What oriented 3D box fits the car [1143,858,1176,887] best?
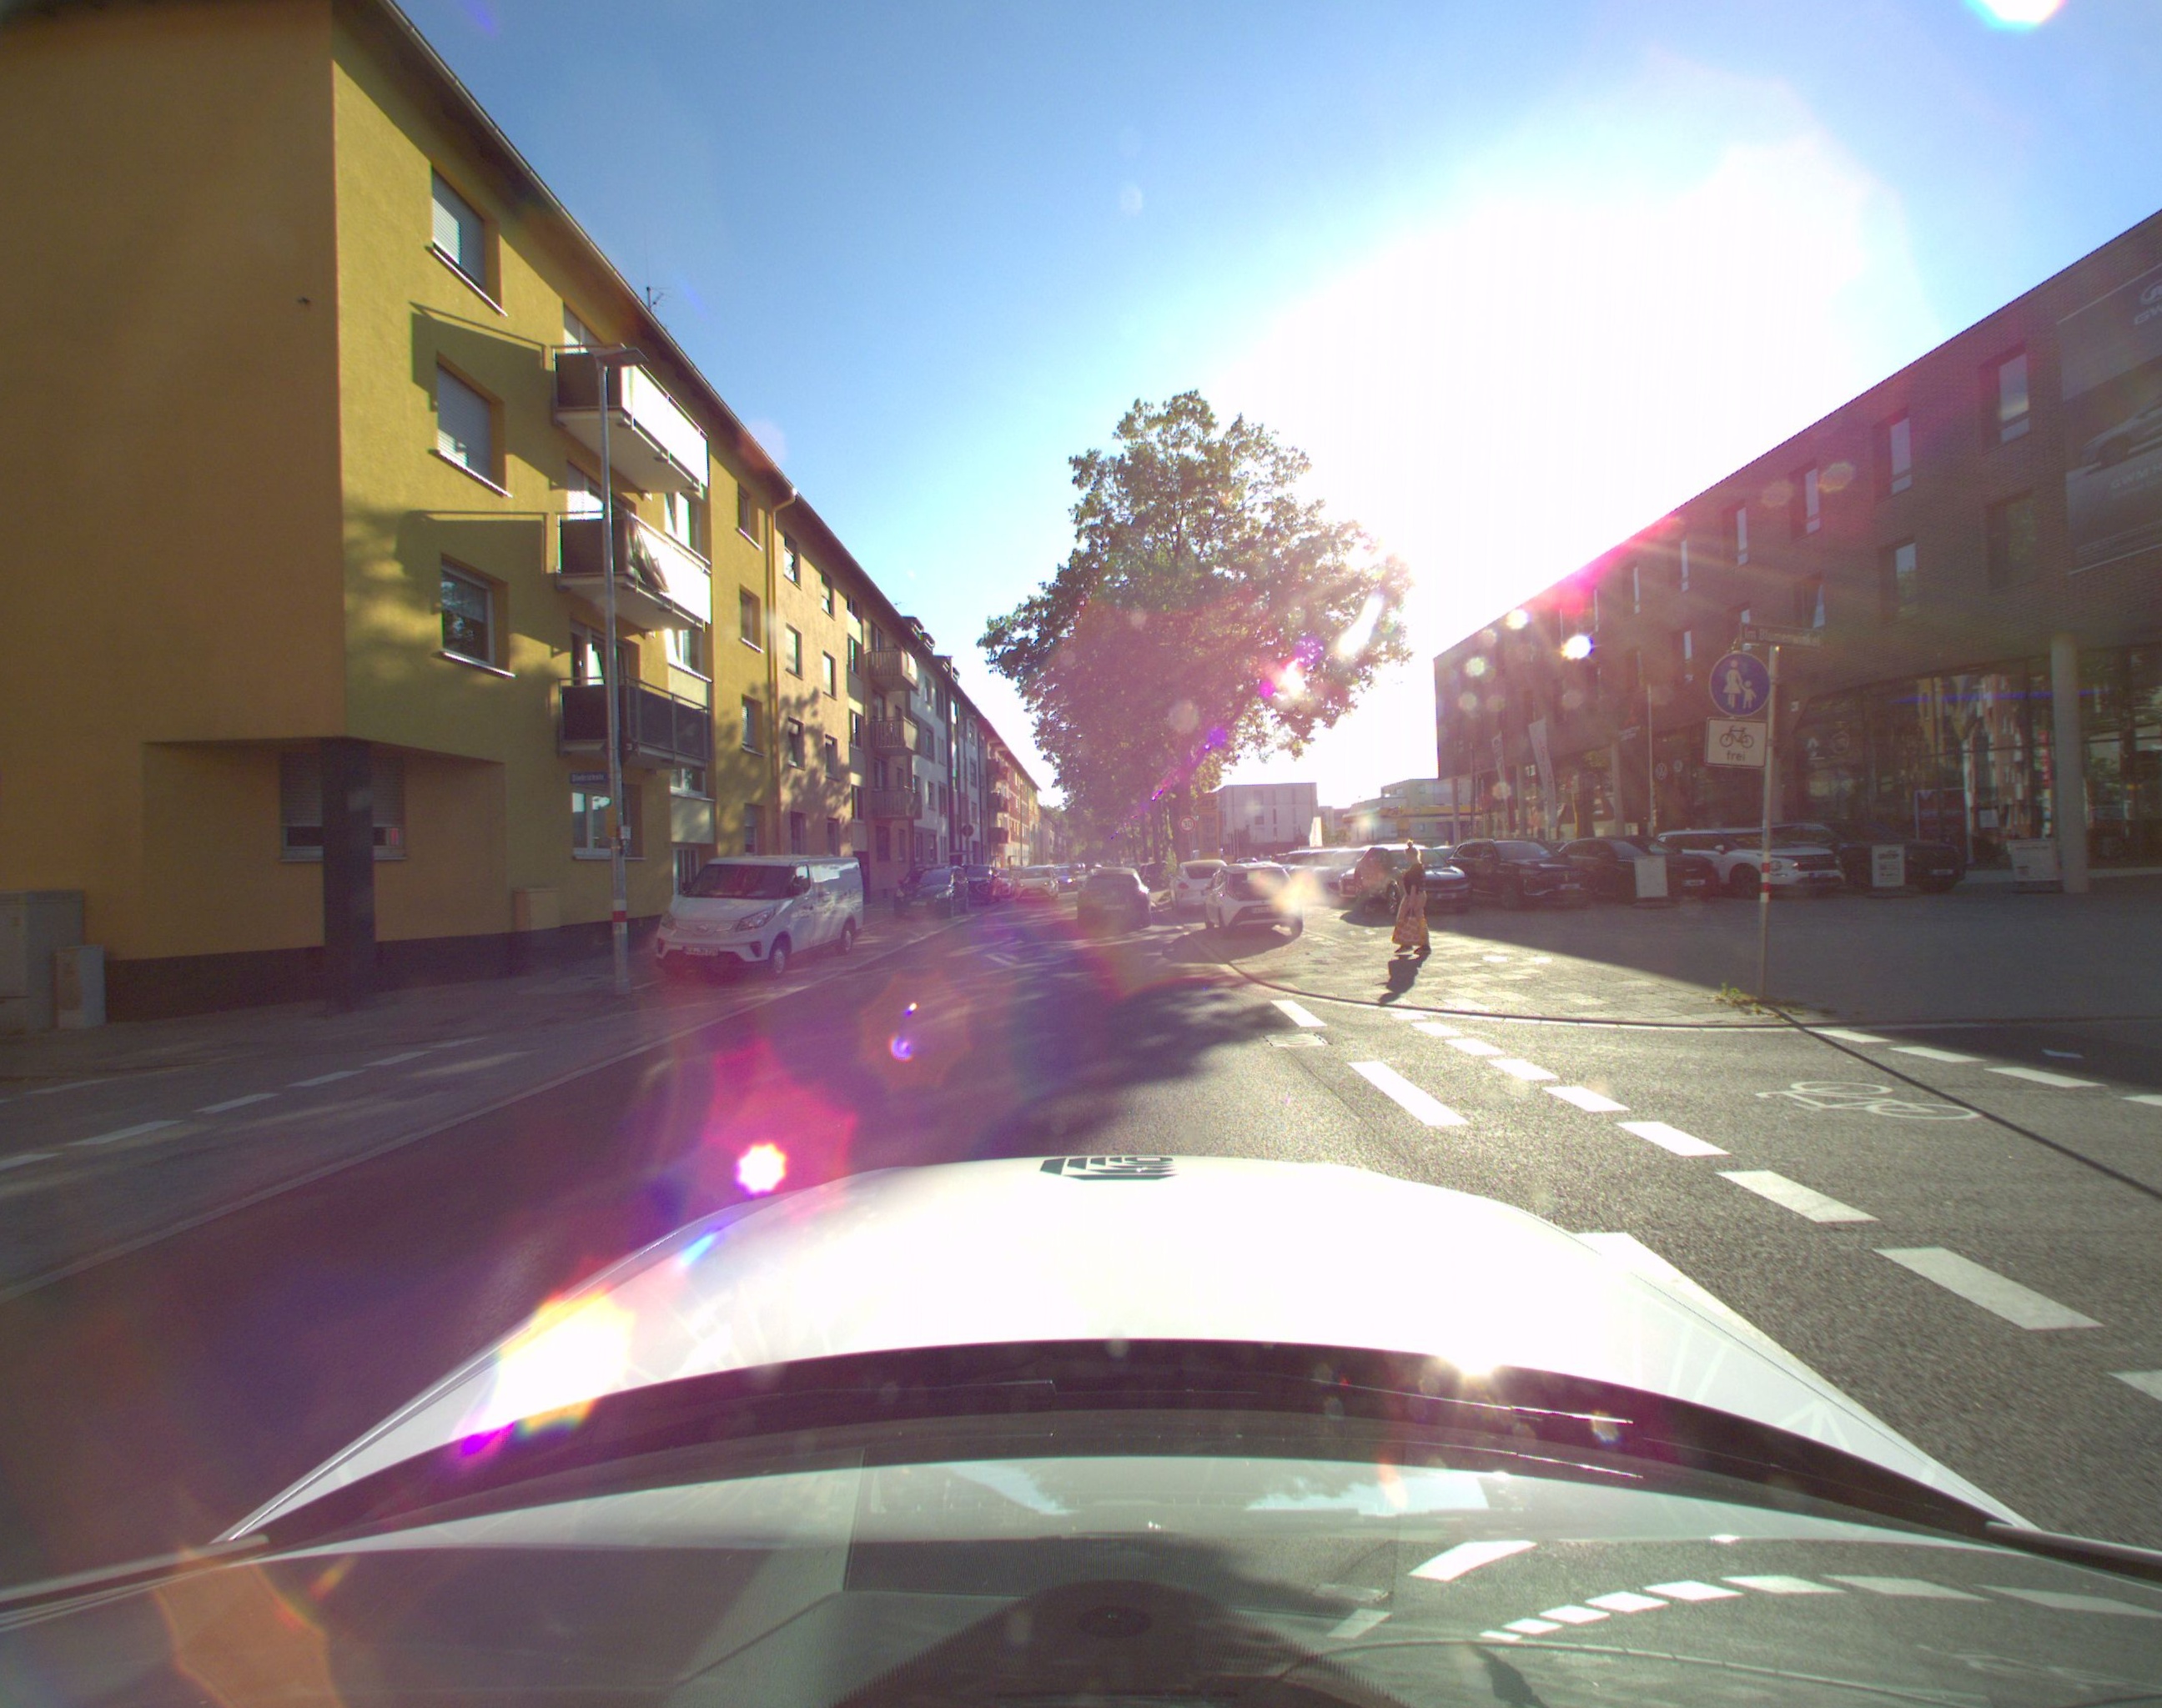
[{"bbox_3d":[4.407,1.035,46.055,1.554,1.596,3.601,0,-1,1],"label":"car"}]

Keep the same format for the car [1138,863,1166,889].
[{"bbox_3d":[4.523,1.377,52.140,1.554,1.596,3.601,0,-1,1],"label":"car"}]

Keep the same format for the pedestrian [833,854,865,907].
[{"bbox_3d":[-7.925,0.896,27.859,0.763,1.769,0.933,1,-1,1],"label":"pedestrian"}]

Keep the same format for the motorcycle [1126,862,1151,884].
[{"bbox_3d":[4.095,1.325,58.193,1.647,1.557,0.607,0,-1,-20],"label":"motorcycle"}]

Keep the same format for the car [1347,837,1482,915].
[{"bbox_3d":[8.196,0.509,20.418,1.745,1.670,4.160,-2,-1,2],"label":"car"}]

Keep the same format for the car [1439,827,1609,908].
[{"bbox_3d":[10.883,0.316,20.425,1.820,1.732,4.367,-2,-1,0],"label":"car"}]

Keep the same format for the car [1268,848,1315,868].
[{"bbox_3d":[19.622,0.394,76.019,3.834,1.712,1.830,-3,-1,-17],"label":"car"}]

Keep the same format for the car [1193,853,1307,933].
[{"bbox_3d":[3.578,0.799,17.919,1.629,1.468,4.021,-4,-1,1],"label":"car"}]

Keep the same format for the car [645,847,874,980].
[{"bbox_3d":[-5.330,0.884,14.413,1.727,1.907,5.212,-1,0,3],"label":"car"}]

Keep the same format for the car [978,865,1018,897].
[{"bbox_3d":[-4.149,1.340,41.277,1.542,1.524,4.005,0,0,1],"label":"car"}]

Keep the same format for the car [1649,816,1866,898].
[{"bbox_3d":[16.493,0.083,20.188,1.870,1.733,4.179,-2,-1,0],"label":"car"}]

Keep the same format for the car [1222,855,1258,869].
[{"bbox_3d":[19.087,0.939,98.016,3.974,1.529,1.807,-1,-2,0],"label":"car"}]

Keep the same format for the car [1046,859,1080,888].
[{"bbox_3d":[-1.030,1.113,47.884,1.657,1.523,4.413,-3,-1,2],"label":"car"}]

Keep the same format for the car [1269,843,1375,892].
[{"bbox_3d":[8.959,0.477,30.185,3.836,1.578,1.722,-3,0,-36],"label":"car"}]

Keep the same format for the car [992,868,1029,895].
[{"bbox_3d":[-4.032,1.547,47.109,1.590,1.434,4.218,0,0,2],"label":"car"}]

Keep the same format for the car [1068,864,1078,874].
[{"bbox_3d":[-1.659,3.170,174.426,1.900,1.948,4.000,-1,-2,1],"label":"car"}]

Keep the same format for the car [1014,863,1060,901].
[{"bbox_3d":[-1.892,1.195,35.821,1.633,1.524,3.935,-1,0,2],"label":"car"}]

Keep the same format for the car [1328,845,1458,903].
[{"bbox_3d":[9.447,0.580,24.626,3.833,1.545,1.646,-2,-1,-32],"label":"car"}]

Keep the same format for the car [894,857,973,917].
[{"bbox_3d":[-4.795,1.020,27.090,1.739,1.787,4.549,0,0,1],"label":"car"}]

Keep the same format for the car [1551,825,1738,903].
[{"bbox_3d":[13.827,0.242,20.335,1.721,1.684,4.179,-2,-1,0],"label":"car"}]

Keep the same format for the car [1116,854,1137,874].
[{"bbox_3d":[5.092,1.145,90.789,1.988,2.014,3.997,-1,-2,-2],"label":"car"}]

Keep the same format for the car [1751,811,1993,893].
[{"bbox_3d":[19.194,-0.031,20.089,1.978,1.733,4.183,-2,-1,3],"label":"car"}]

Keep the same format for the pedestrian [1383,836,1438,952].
[{"bbox_3d":[5.078,0.607,12.525,0.685,1.723,0.725,-3,-1,24],"label":"pedestrian"}]

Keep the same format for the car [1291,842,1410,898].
[{"bbox_3d":[9.008,0.498,27.181,3.835,1.609,1.723,-3,0,-34],"label":"car"}]

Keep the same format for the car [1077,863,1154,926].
[{"bbox_3d":[0.977,0.956,20.918,1.735,1.443,3.975,0,0,6],"label":"car"}]

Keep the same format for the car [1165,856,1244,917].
[{"bbox_3d":[3.646,0.933,24.712,1.803,1.539,4.586,-5,-1,3],"label":"car"}]

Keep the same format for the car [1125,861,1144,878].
[{"bbox_3d":[5.068,1.456,77.472,1.627,1.557,3.601,0,-1,1],"label":"car"}]

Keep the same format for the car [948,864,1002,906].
[{"bbox_3d":[-4.364,1.240,34.086,1.591,1.641,4.412,0,0,1],"label":"car"}]

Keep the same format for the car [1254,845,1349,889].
[{"bbox_3d":[9.228,0.519,33.980,3.836,1.578,1.727,-3,0,-36],"label":"car"}]

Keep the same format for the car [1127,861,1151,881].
[{"bbox_3d":[4.649,1.335,65.415,1.716,1.557,3.601,0,-1,1],"label":"car"}]

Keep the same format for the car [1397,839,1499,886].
[{"bbox_3d":[13.587,0.297,30.103,3.835,1.511,1.626,-3,0,-34],"label":"car"}]
